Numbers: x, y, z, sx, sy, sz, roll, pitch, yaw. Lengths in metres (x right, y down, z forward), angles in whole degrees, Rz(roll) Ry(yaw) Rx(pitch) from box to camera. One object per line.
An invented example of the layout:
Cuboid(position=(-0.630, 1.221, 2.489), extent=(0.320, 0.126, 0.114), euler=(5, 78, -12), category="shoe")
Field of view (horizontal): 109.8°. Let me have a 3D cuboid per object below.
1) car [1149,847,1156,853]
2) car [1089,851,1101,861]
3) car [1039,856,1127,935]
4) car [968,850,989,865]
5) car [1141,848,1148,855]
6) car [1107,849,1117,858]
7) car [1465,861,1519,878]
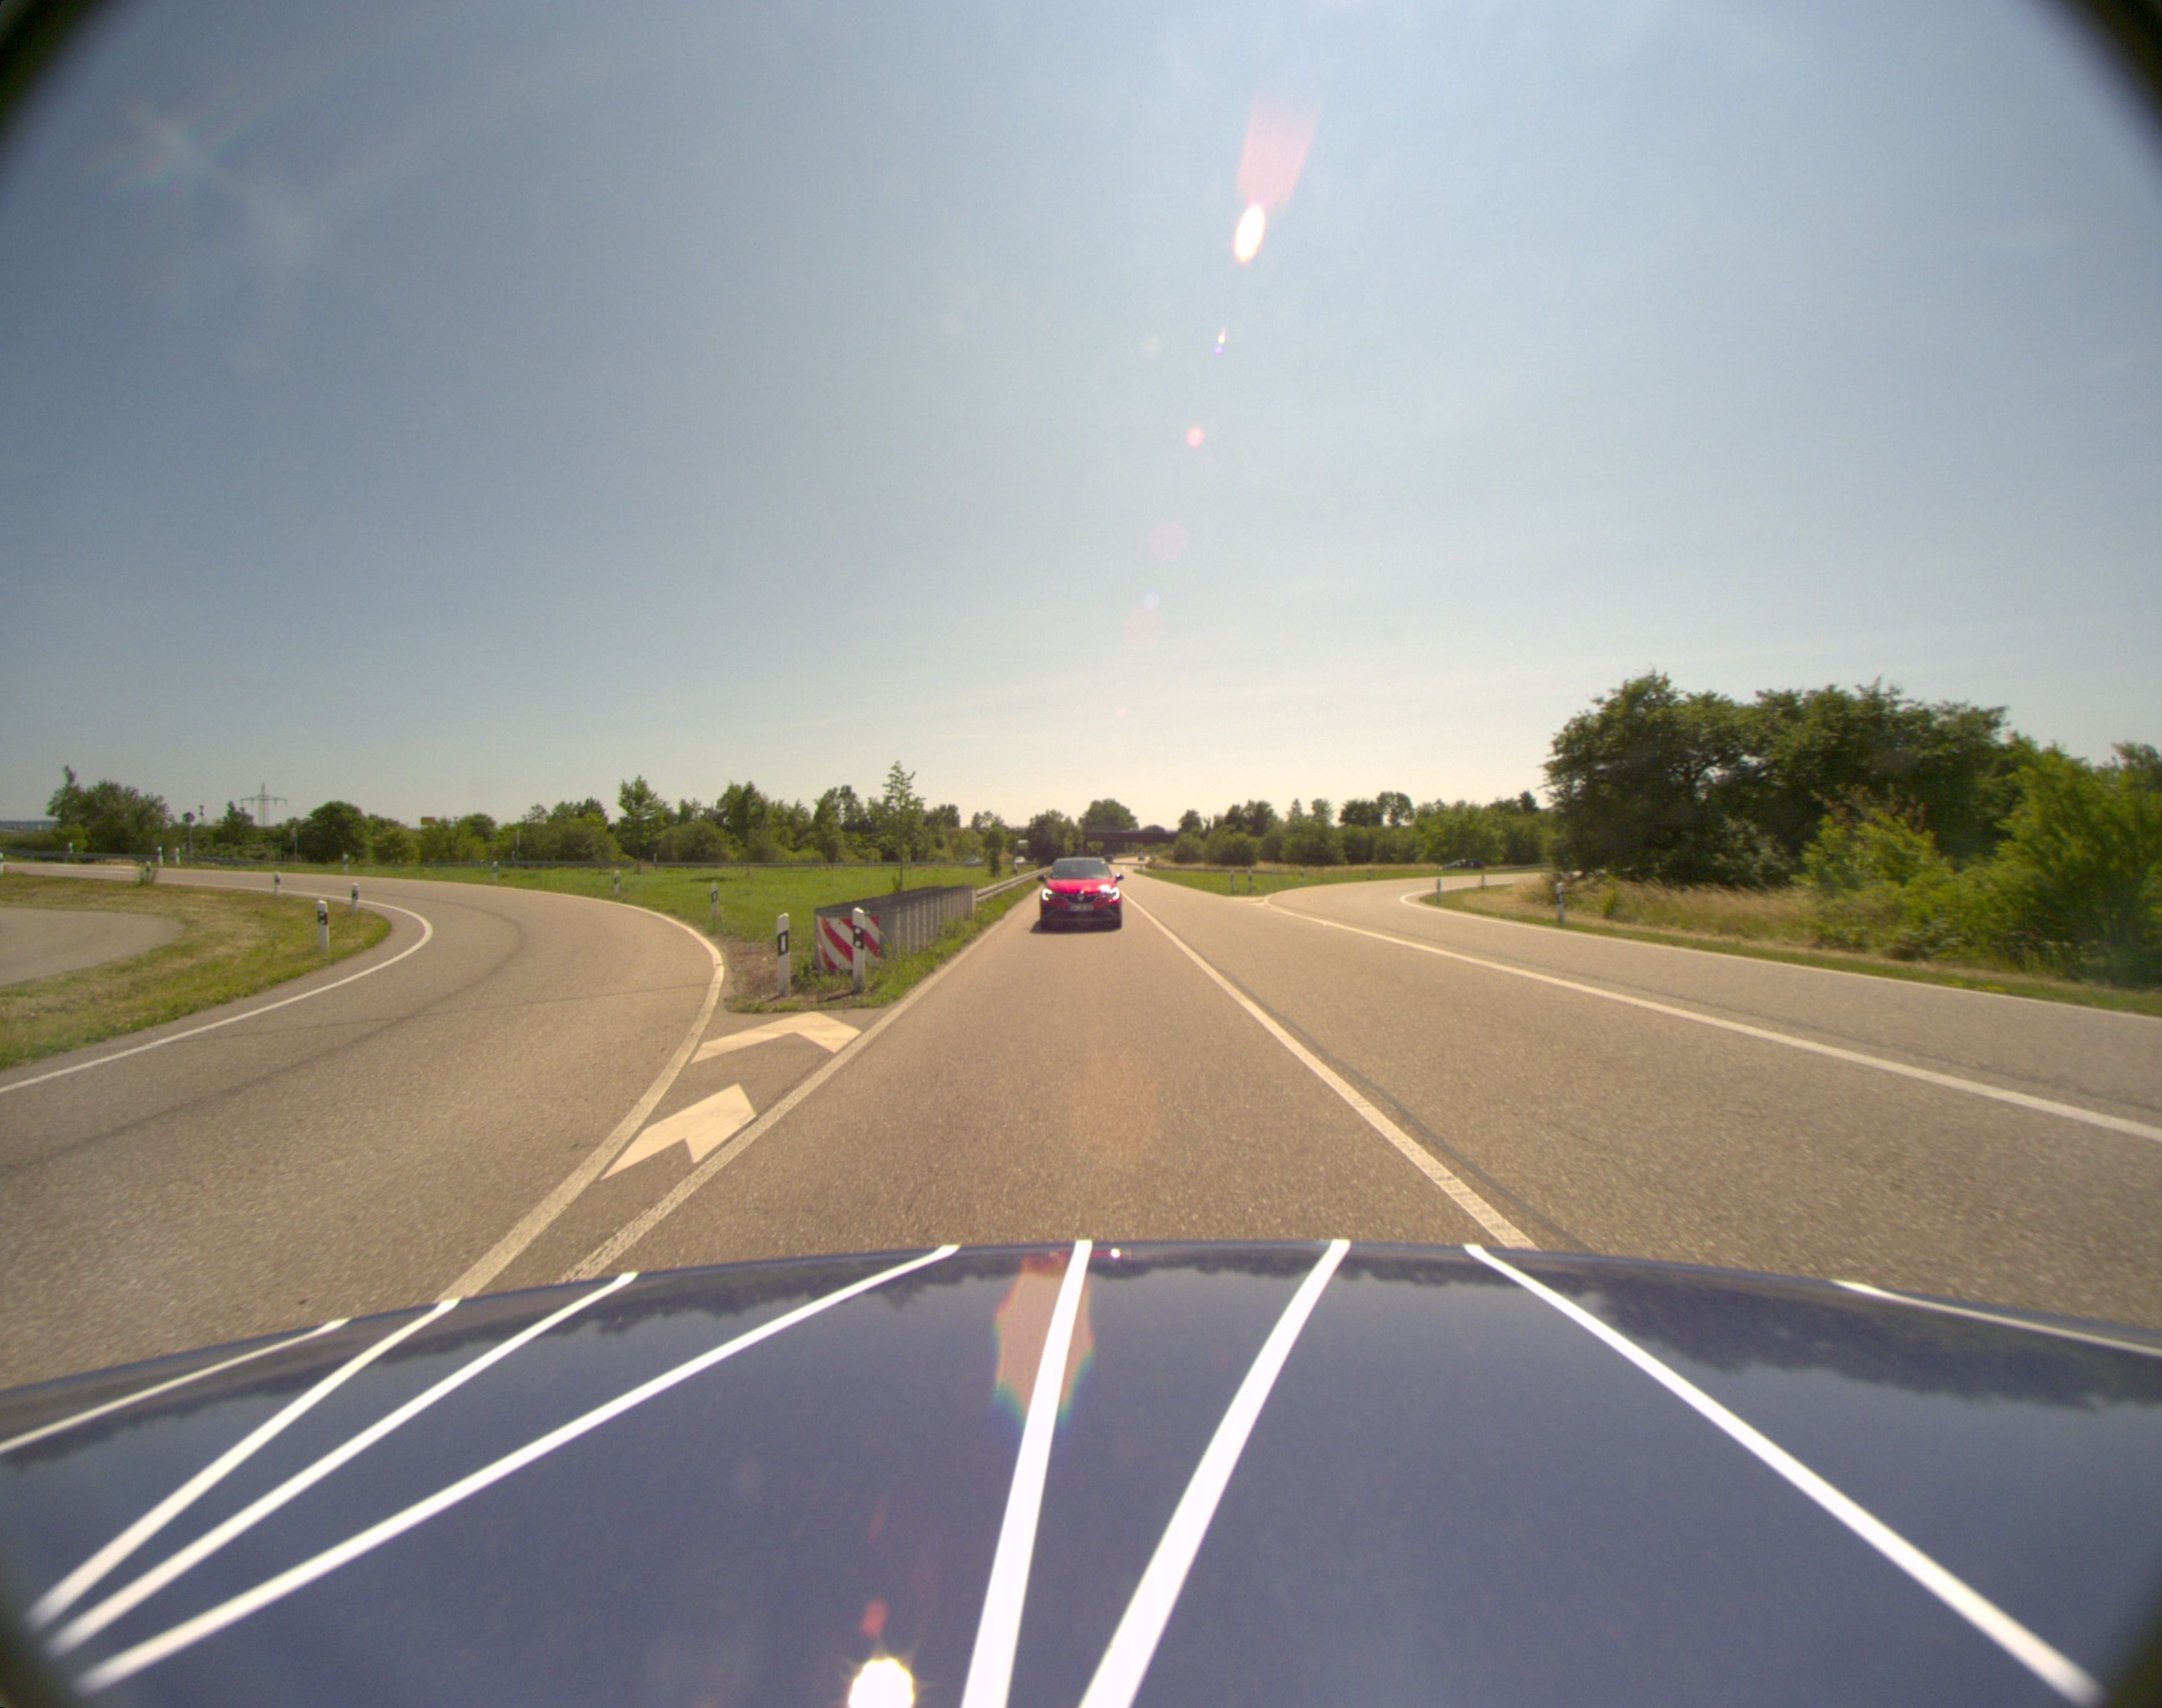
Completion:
Cuboid(position=(23.273, -1.264, 246.834), extent=(1.997, 2.002, 4.003), euler=(1, 1, 9), category="car")
Cuboid(position=(2.408, 0.342, 130.552), extent=(1.998, 1.696, 4.000), euler=(0, 0, 1), category="car")
Cuboid(position=(0.060, 0.876, 18.409), extent=(1.837, 1.587, 4.721), euler=(-1, 0, 0), category="car")
Cuboid(position=(-13.536, 0.423, 100.744), extent=(1.793, 2.002, 3.724), euler=(1, 0, 9), category="car")
Cuboid(position=(18.277, -0.774, 218.309), extent=(1.997, 2.002, 4.002), euler=(1, 1, 6), category="car")
Cuboid(position=(7.153, -0.054, 176.773), extent=(1.997, 2.002, 4.001), euler=(1, 1, 6), category="car")
Cuboid(position=(38.967, 1.467, 72.100), extent=(4.145, 1.548, 1.889), euler=(1, 1, 4), category="car")
